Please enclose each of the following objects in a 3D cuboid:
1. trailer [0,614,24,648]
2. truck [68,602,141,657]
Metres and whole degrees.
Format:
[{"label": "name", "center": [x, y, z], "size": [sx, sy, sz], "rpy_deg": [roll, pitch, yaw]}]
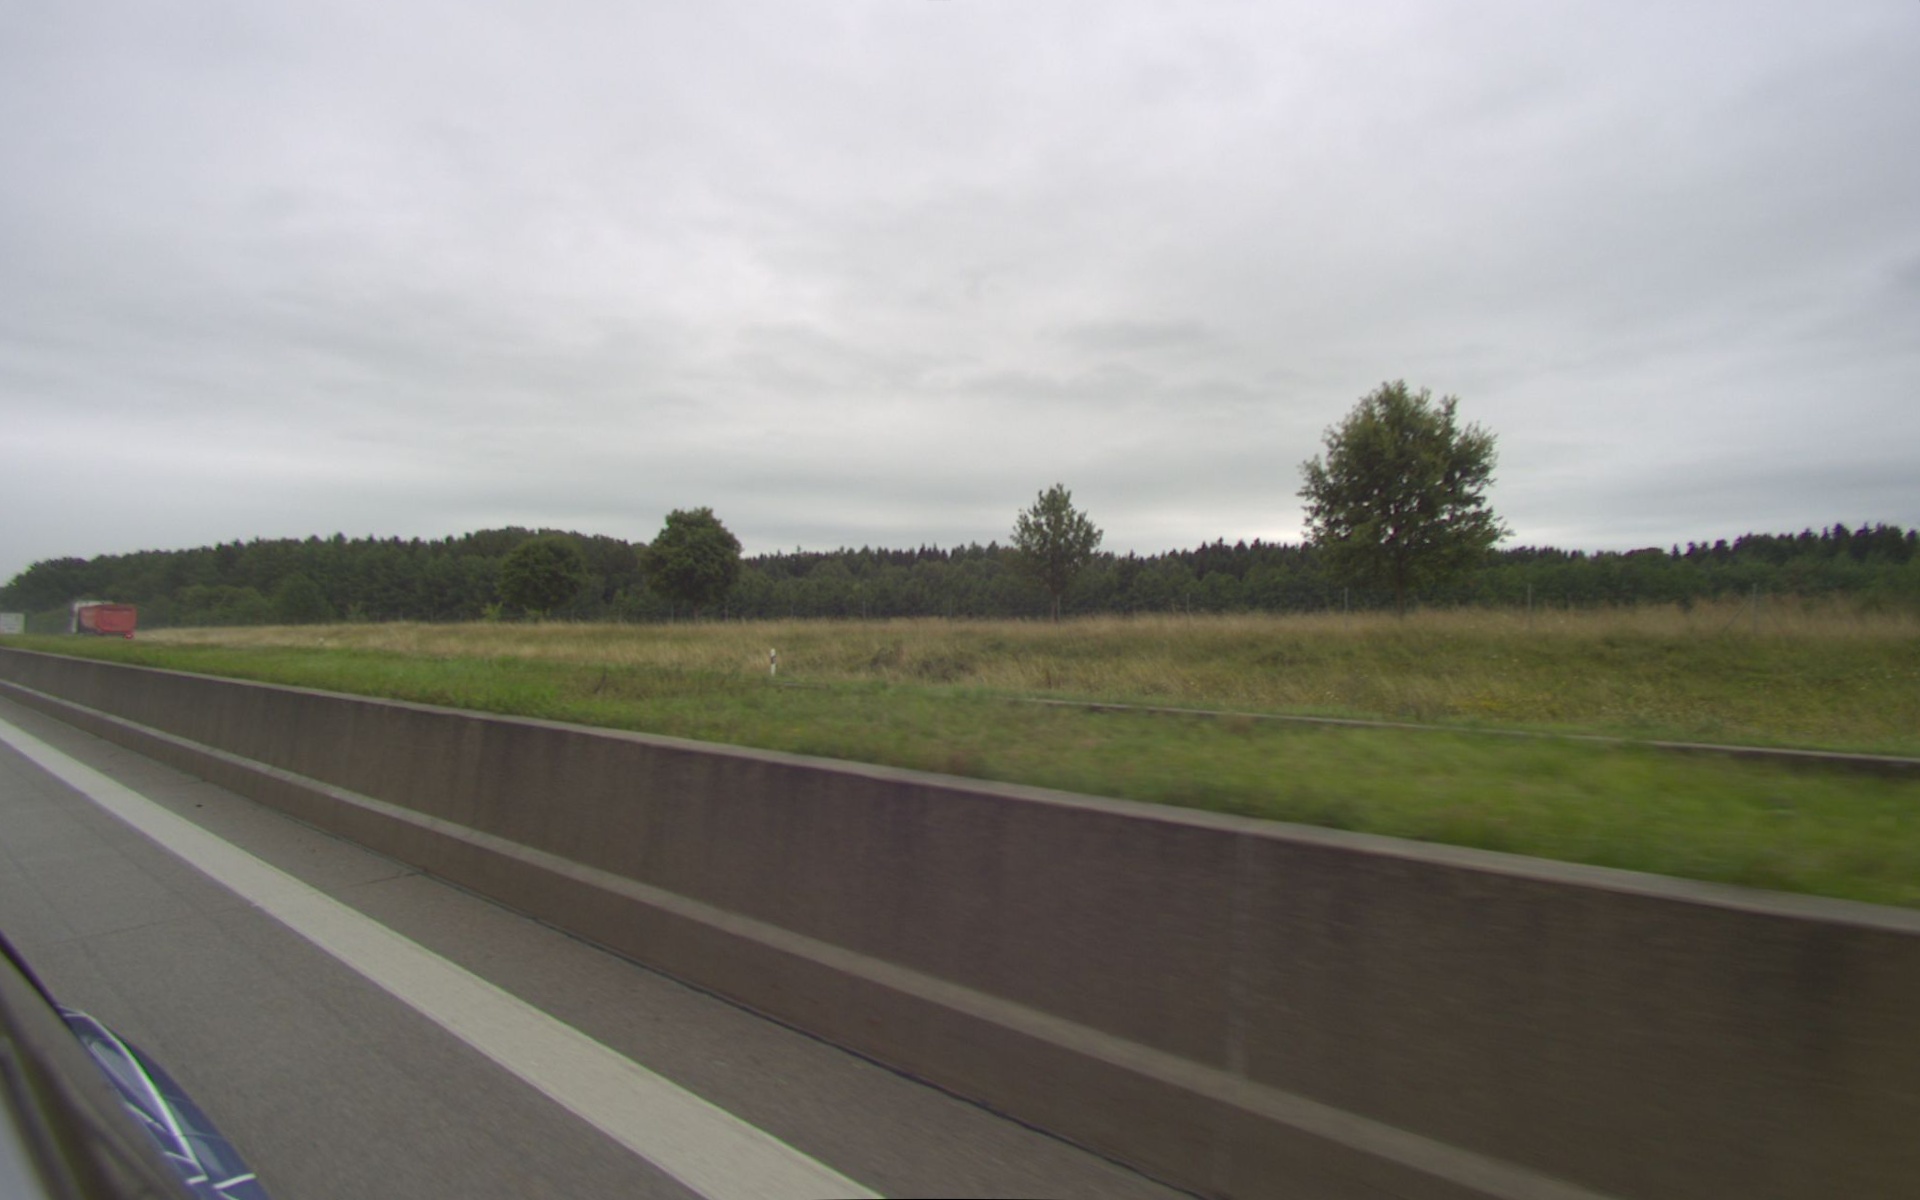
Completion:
[{"label": "trailer", "center": [-131.567, 4.264, 139.102], "size": [13.551, 4.373, 3.193], "rpy_deg": [-2, -1, 43]}, {"label": "truck", "center": [-72.161, 2.380, 85.223], "size": [13.099, 4.238, 2.725], "rpy_deg": [0, -2, 42]}]
